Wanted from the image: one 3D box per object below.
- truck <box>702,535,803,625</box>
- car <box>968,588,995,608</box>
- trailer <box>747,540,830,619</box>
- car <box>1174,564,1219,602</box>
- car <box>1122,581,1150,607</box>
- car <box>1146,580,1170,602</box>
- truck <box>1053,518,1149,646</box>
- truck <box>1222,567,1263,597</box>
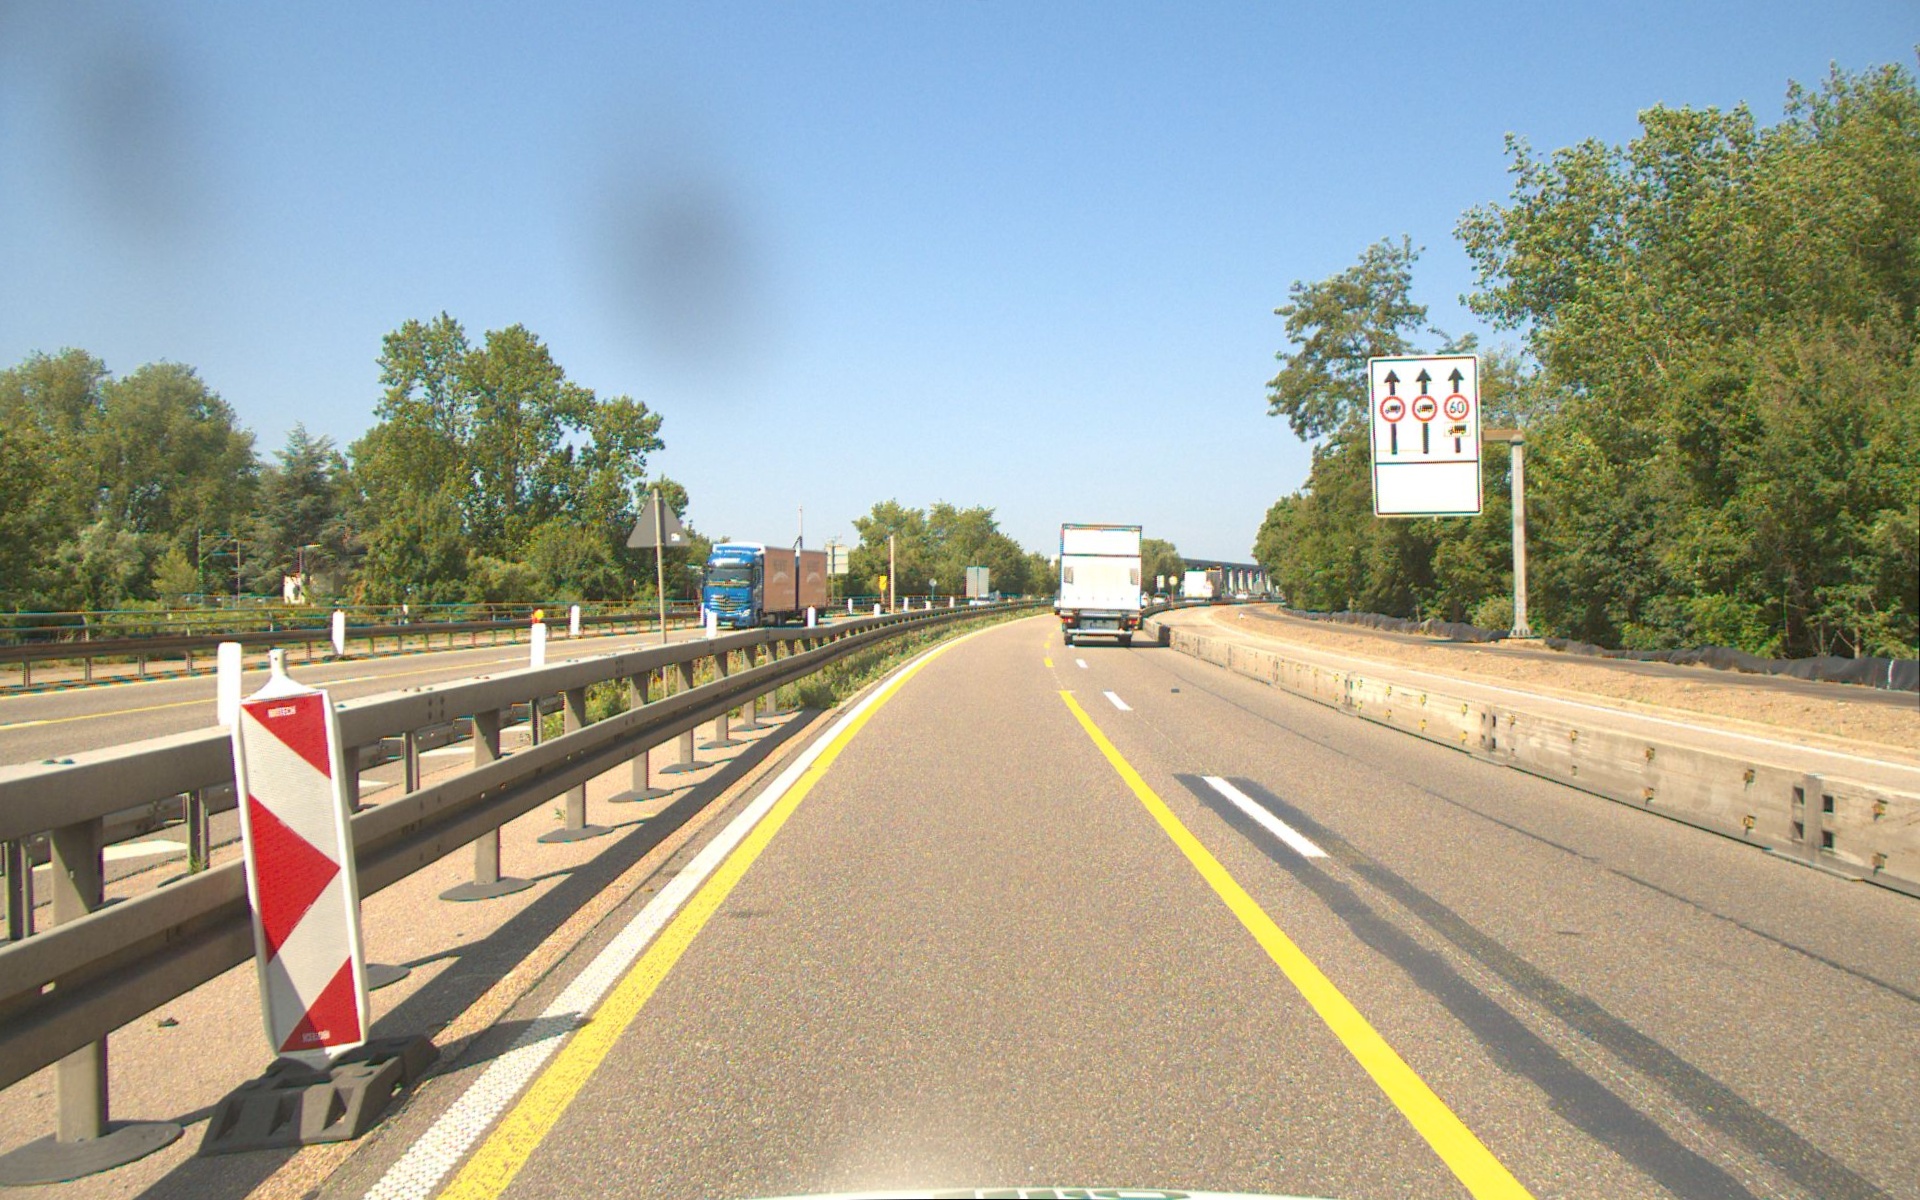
[{"bbox_3d":[-10.251,-1.026,82.940,2.974,4.162,10.630,1,1,4],"label":"truck"},{"bbox_3d":[1.932,-0.211,148.321,1.868,1.679,4.380,-1,1,7],"label":"car"},{"bbox_3d":[-9.549,-1.178,93.284,2.974,4.162,9.794,1,1,4],"label":"trailer"},{"bbox_3d":[28.588,-2.124,199.339,4.118,4.325,10.670,-2,1,15],"label":"car"},{"bbox_3d":[14.797,-0.497,139.042,1.951,2.048,4.004,-2,1,12],"label":"car"},{"bbox_3d":[19.346,-0.868,161.313,1.951,2.048,4.004,-2,1,11],"label":"car"},{"bbox_3d":[4.155,-0.549,49.683,2.579,3.487,7.237,1,1,4],"label":"truck"},{"bbox_3d":[43.581,-2.885,254.984,4.133,4.341,10.243,-2,1,21],"label":"truck"}]
